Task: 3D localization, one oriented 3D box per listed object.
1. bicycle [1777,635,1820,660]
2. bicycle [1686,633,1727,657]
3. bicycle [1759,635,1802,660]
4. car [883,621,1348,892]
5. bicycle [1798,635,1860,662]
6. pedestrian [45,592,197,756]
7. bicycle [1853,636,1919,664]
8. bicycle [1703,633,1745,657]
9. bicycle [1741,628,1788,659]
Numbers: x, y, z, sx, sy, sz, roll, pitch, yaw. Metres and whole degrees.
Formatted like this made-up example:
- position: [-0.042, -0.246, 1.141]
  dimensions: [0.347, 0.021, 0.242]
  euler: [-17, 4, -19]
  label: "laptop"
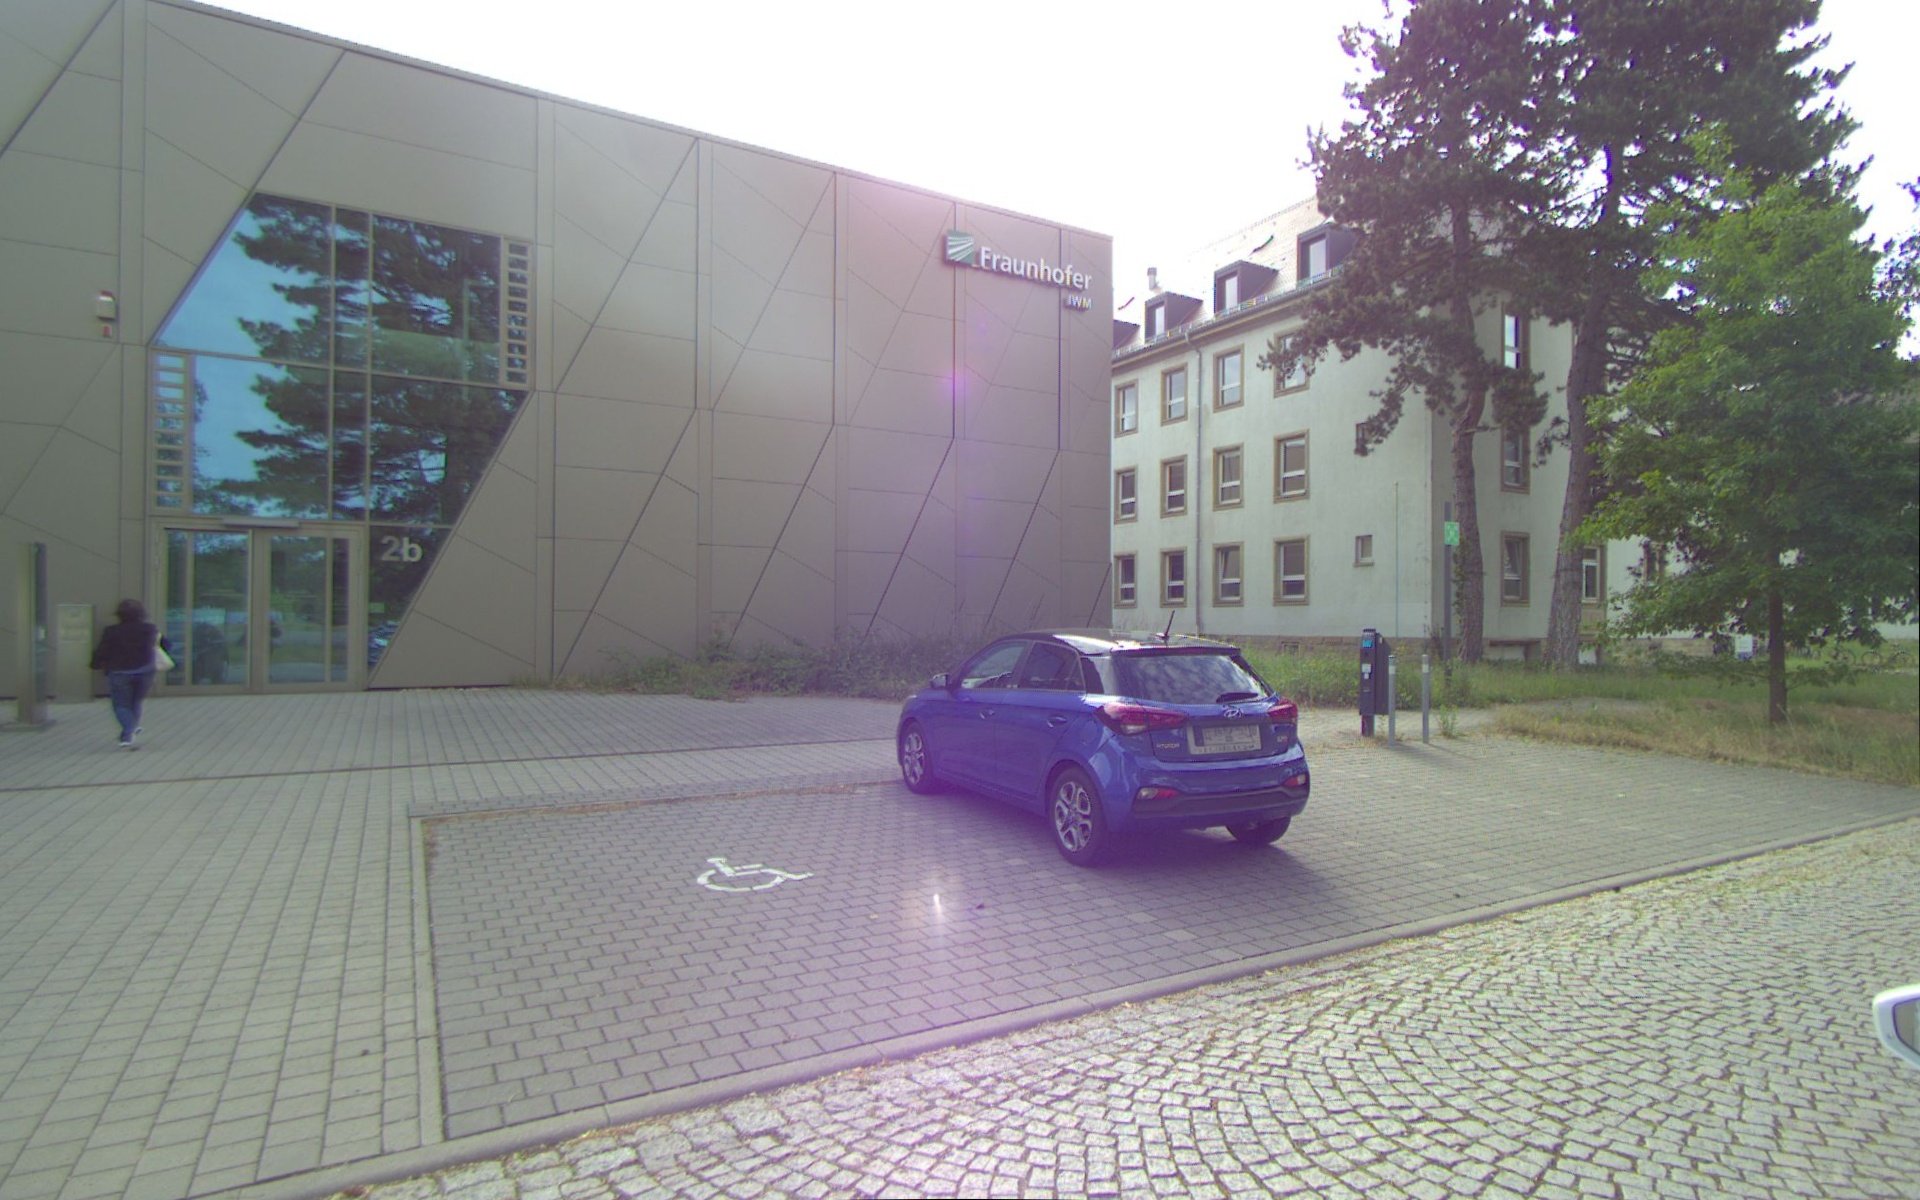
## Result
- position: [37.070, 2.083, 44.402]
  dimensions: [2.246, 1.090, 0.732]
  euler: [1, -1, -30]
  label: "bicycle"
- position: [35.321, 2.106, 47.497]
  dimensions: [2.246, 1.090, 0.732]
  euler: [1, -1, -30]
  label: "bicycle"
- position: [36.693, 2.099, 44.922]
  dimensions: [2.246, 1.090, 0.732]
  euler: [1, -1, -30]
  label: "bicycle"
- position: [0.942, 0.968, 7.989]
  dimensions: [1.828, 1.497, 3.752]
  euler: [1, 0, -27]
  label: "car"
- position: [36.722, 2.025, 42.477]
  dimensions: [0.729, 1.090, 1.849]
  euler: [1, -2, -27]
  label: "bicycle"
- position: [-8.441, 0.710, 10.118]
  dimensions: [0.968, 1.514, 0.817]
  euler: [3, 1, 27]
  label: "pedestrian"
- position: [37.664, 2.002, 40.849]
  dimensions: [0.821, 1.090, 1.849]
  euler: [1, -2, -27]
  label: "bicycle"
- position: [35.613, 2.094, 46.821]
  dimensions: [2.246, 1.090, 0.732]
  euler: [1, -1, -30]
  label: "bicycle"
- position: [36.637, 1.969, 45.752]
  dimensions: [2.679, 1.404, 0.732]
  euler: [1, -1, -30]
  label: "bicycle"
